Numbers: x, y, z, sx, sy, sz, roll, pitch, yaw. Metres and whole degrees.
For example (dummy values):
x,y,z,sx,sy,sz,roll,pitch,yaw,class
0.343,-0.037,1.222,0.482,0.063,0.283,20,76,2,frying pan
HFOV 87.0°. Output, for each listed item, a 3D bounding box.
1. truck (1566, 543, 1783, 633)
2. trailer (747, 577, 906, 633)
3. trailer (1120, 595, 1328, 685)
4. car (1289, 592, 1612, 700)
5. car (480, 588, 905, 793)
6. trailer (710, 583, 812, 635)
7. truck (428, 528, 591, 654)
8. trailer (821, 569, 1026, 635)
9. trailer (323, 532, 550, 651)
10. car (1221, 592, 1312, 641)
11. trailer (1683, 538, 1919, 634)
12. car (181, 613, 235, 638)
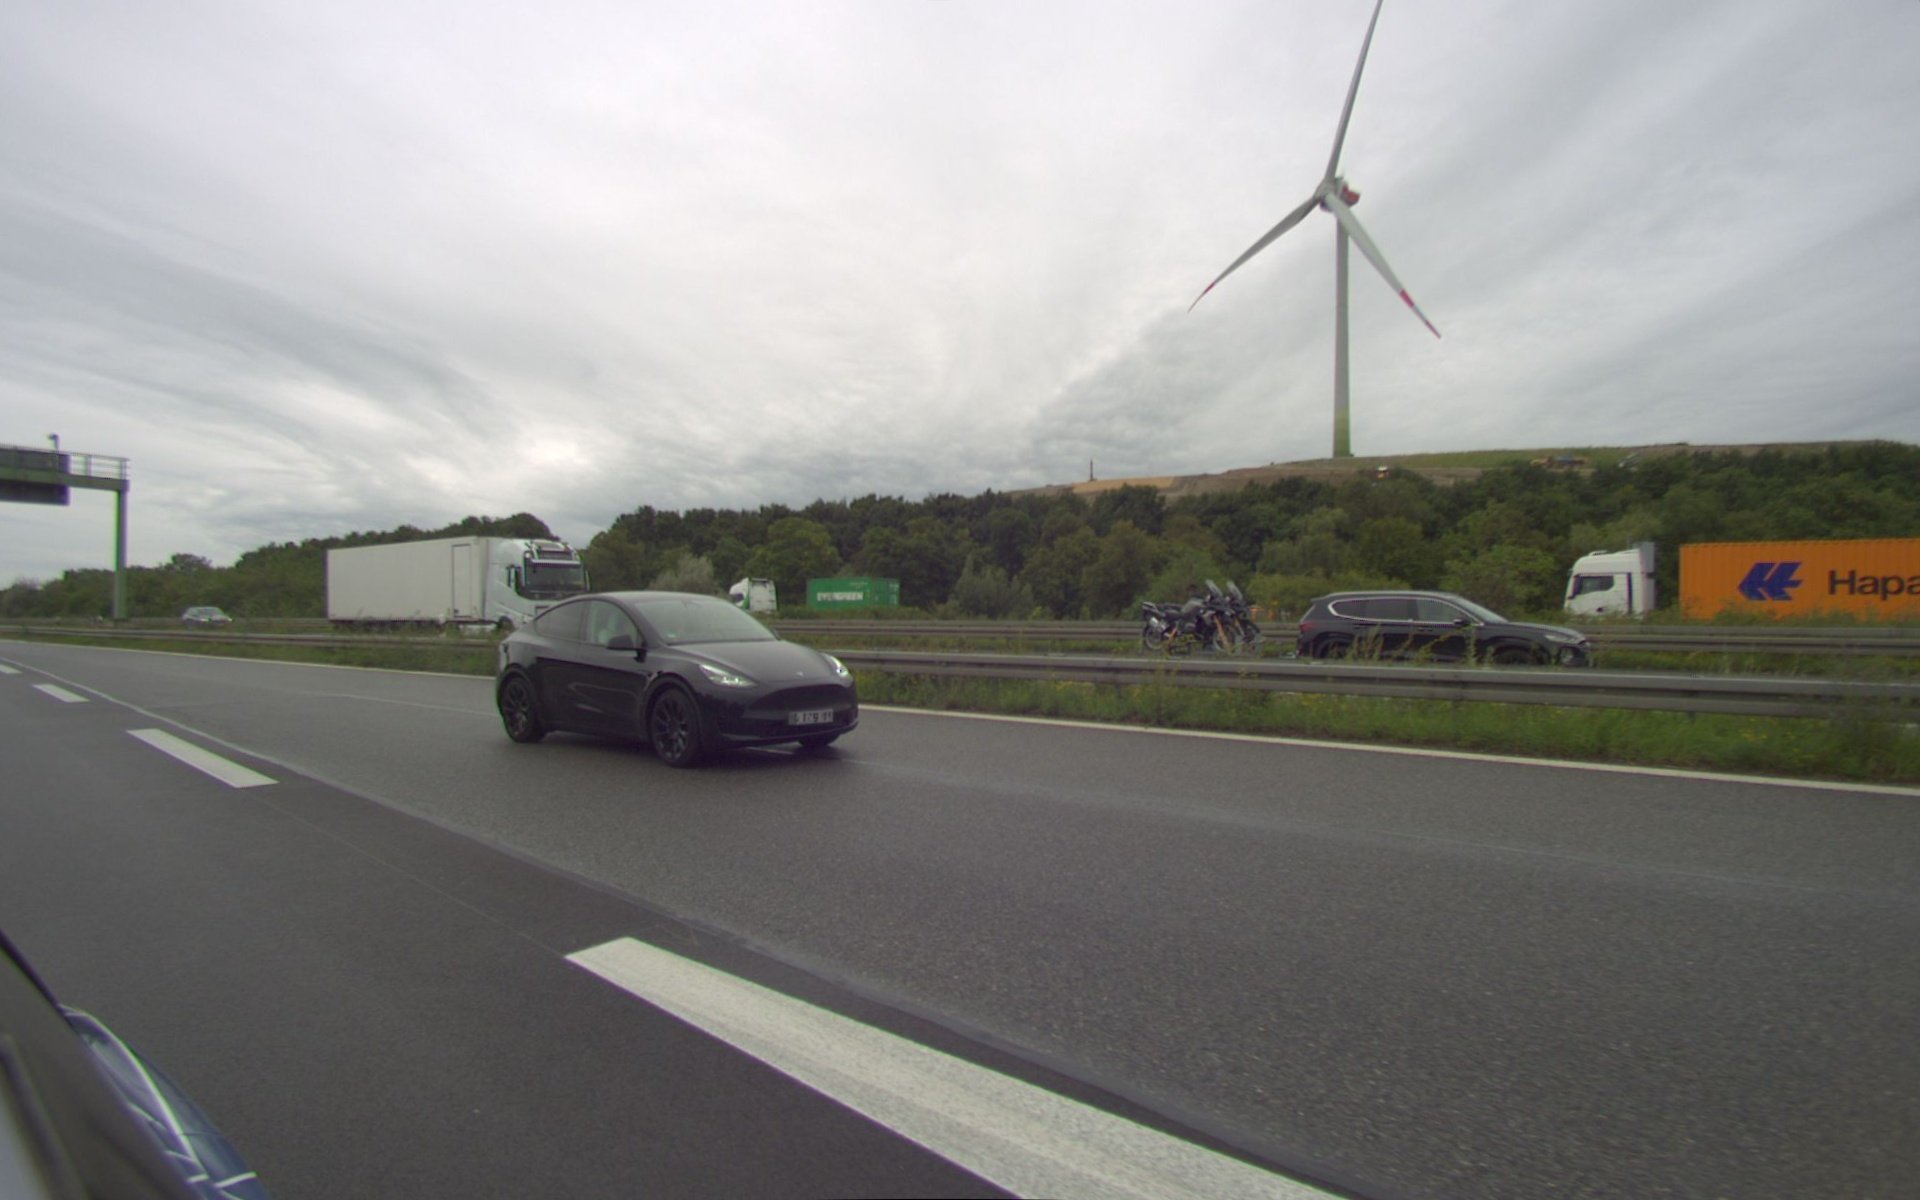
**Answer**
x,y,z,sx,sy,sz,roll,pitch,yaw,class
26.606,-0.412,37.885,6.448,3.097,2.659,-1,0,39,truck
-8.912,0.416,66.279,11.787,3.429,2.931,-1,-1,38,trailer
5.253,0.737,20.314,3.607,1.638,1.864,-1,0,39,trailer
8.462,0.709,17.711,4.802,1.638,1.864,-1,0,39,car
-2.898,0.739,10.404,4.550,1.650,1.942,-1,0,40,car
-13.872,0.643,70.172,7.262,3.429,2.931,-1,-1,38,trailer
-16.397,-0.249,36.670,6.438,4.166,2.739,-1,0,39,truck
-2.536,0.241,61.321,13.762,3.634,2.819,-1,-1,38,trailer
-21.467,-0.205,40.755,13.935,4.166,2.739,-1,0,39,trailer
15.717,0.847,51.919,3.995,2.394,2.003,-1,-1,38,car
31.825,-0.457,33.667,12.553,3.097,2.659,-1,0,39,trailer
-52.318,1.761,70.390,4.479,1.663,1.880,-1,-1,38,car
